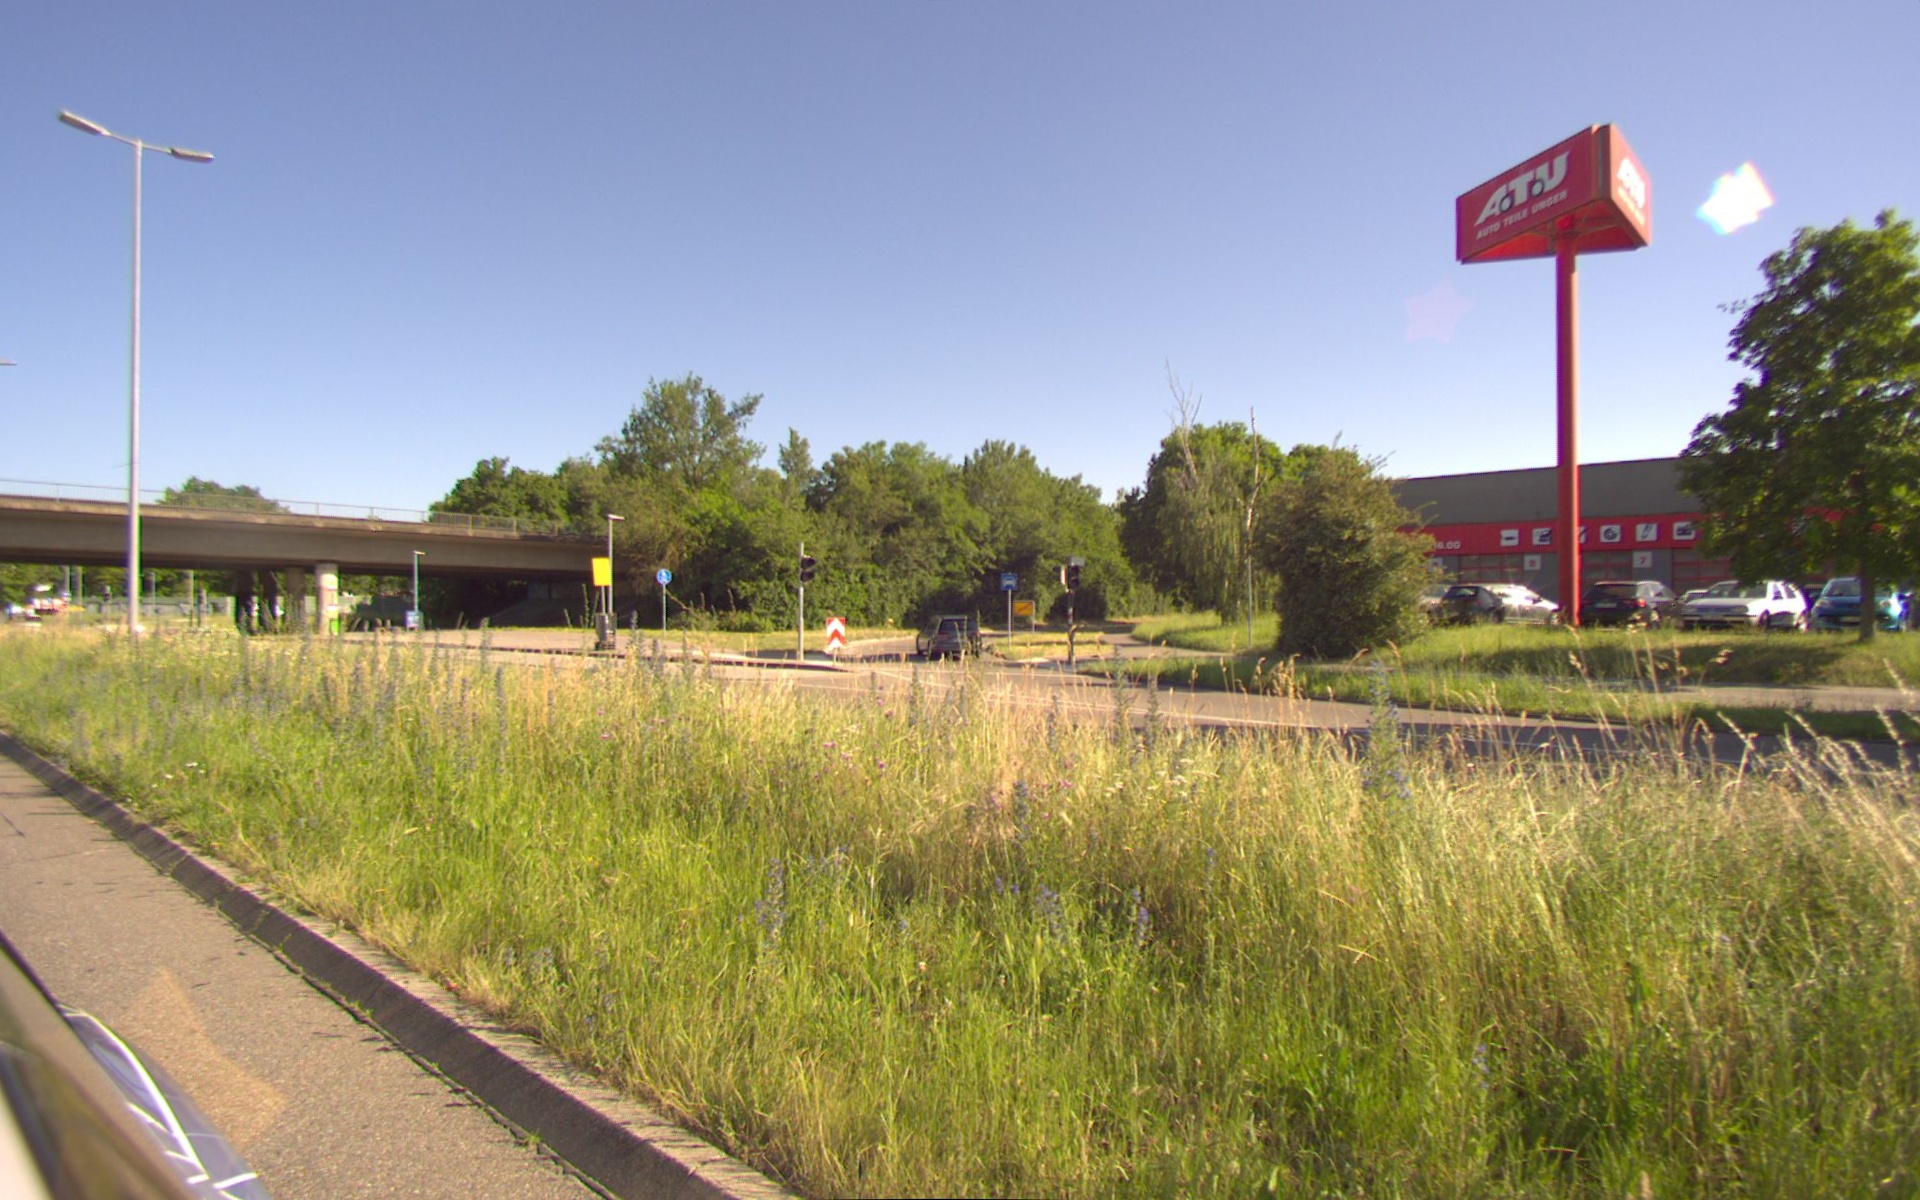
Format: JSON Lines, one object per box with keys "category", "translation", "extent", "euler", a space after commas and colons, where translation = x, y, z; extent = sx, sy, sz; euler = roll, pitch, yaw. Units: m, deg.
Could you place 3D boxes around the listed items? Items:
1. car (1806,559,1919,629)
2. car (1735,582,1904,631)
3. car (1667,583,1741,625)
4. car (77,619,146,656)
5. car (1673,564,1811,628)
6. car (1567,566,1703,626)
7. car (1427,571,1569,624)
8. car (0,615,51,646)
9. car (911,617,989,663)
{"category": "car", "translation": [22.106, -0.094, 24.708], "extent": [4.070, 1.563, 1.820], "euler": [1, -1, -44]}
{"category": "car", "translation": [27.088, 0.225, 31.981], "extent": [3.984, 1.466, 1.760], "euler": [-1, -1, 43]}
{"category": "car", "translation": [27.135, 0.171, 36.860], "extent": [1.894, 1.466, 4.075], "euler": [-1, -1, 41]}
{"category": "car", "translation": [-35.514, 1.518, 42.327], "extent": [4.102, 1.455, 1.615], "euler": [-1, -1, 41]}
{"category": "car", "translation": [20.450, -0.067, 26.423], "extent": [4.065, 1.563, 1.899], "euler": [1, -1, -38]}
{"category": "car", "translation": [18.923, -0.074, 28.341], "extent": [4.064, 1.563, 1.900], "euler": [1, -1, -36]}
{"category": "car", "translation": [16.818, -0.050, 31.633], "extent": [4.060, 1.563, 1.902], "euler": [0, -1, -27]}
{"category": "car", "translation": [-48.956, 1.570, 52.755], "extent": [3.586, 1.541, 1.618], "euler": [-1, -1, 36]}
{"category": "car", "translation": [-0.414, 1.326, 34.281], "extent": [1.756, 1.436, 4.392], "euler": [1, -2, -13]}
